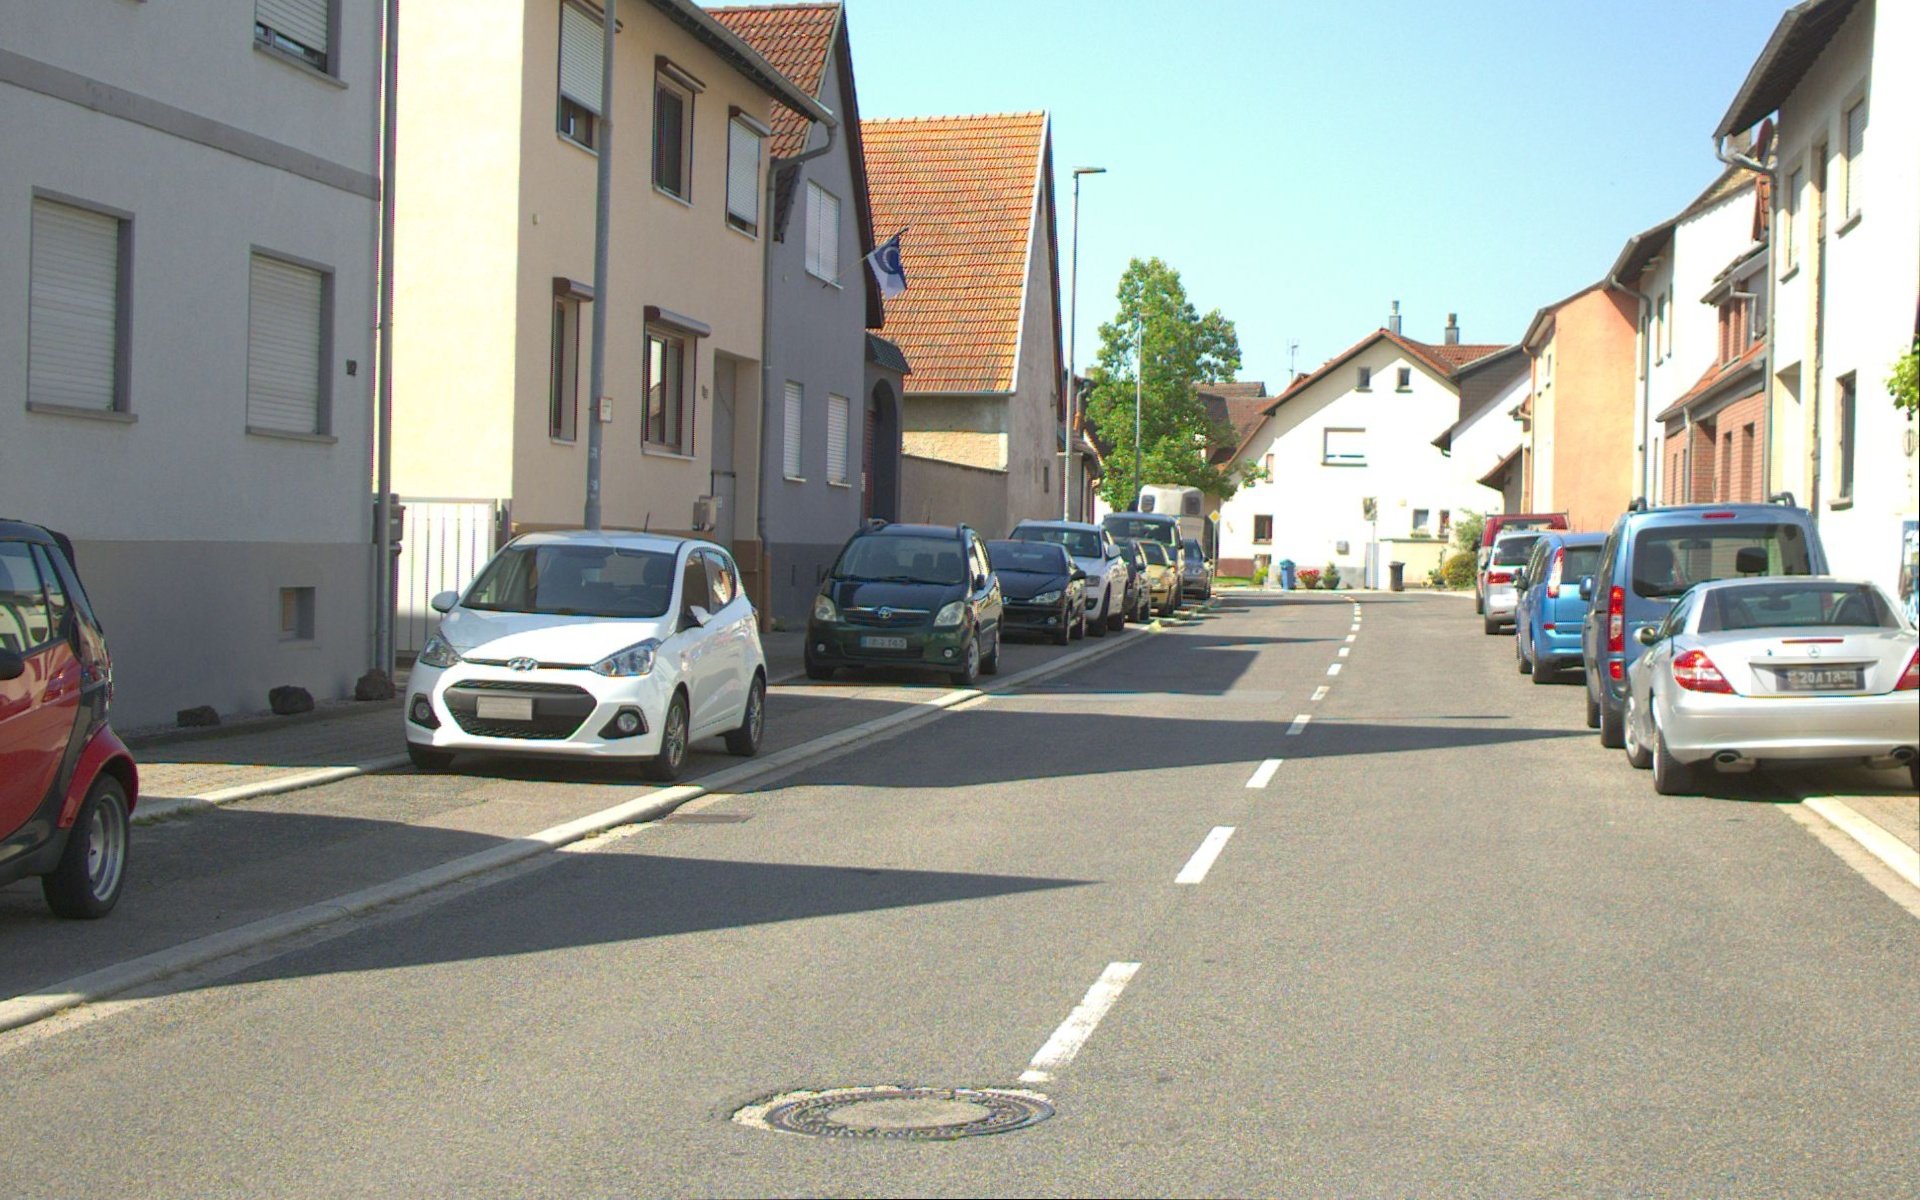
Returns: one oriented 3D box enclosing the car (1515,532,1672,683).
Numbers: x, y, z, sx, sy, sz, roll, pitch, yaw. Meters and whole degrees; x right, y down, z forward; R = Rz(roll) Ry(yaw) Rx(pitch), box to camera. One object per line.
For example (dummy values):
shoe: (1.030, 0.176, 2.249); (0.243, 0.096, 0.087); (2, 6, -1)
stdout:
car: (6.838, 0.053, 37.329); (1.421, 1.510, 3.303); (2, 1, 7)

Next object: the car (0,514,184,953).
car: (-4.100, 0.440, 12.290); (1.553, 1.539, 2.986); (2, 1, 9)

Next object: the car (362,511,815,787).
car: (-2.289, 0.260, 22.412); (1.807, 1.542, 4.402); (2, 1, 9)

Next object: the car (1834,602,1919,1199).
car: (2.384, 0.732, 4.932); (1.705, 1.428, 3.888); (-1, 1, 7)

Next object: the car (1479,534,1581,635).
car: (9.056, -0.262, 54.783); (1.421, 1.510, 3.303); (2, 1, 7)

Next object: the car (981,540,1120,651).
car: (1.282, -0.067, 47.369); (1.504, 1.448, 3.507); (1, 0, 8)

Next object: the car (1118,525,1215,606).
car: (4.364, -0.721, 72.287); (1.754, 1.619, 3.999); (1, 0, 7)

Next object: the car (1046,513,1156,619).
car: (2.434, -0.584, 58.681); (1.528, 1.707, 3.625); (2, 1, 7)

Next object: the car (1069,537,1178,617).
car: (3.107, -0.438, 64.828); (1.754, 1.437, 3.999); (1, 0, 7)

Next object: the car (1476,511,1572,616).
car: (11.092, -0.717, 67.762); (1.767, 1.997, 3.449); (1, 0, 9)

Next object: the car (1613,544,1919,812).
car: (5.079, 0.430, 21.464); (1.705, 1.491, 3.451); (-2, 0, 7)

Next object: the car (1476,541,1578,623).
car: (10.325, -0.323, 62.790); (1.767, 1.428, 3.449); (1, 0, 9)

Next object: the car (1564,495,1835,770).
car: (5.618, 0.211, 26.454); (1.650, 1.903, 3.625); (2, 1, 7)

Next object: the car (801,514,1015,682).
car: (-0.480, -0.042, 35.539); (1.619, 1.572, 3.960); (2, 1, 7)

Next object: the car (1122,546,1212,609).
car: (4.943, -0.537, 81.813); (1.755, 1.437, 3.999); (1, 0, 9)

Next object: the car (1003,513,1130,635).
car: (1.634, -0.397, 51.715); (1.528, 1.707, 3.625); (2, 1, 7)
